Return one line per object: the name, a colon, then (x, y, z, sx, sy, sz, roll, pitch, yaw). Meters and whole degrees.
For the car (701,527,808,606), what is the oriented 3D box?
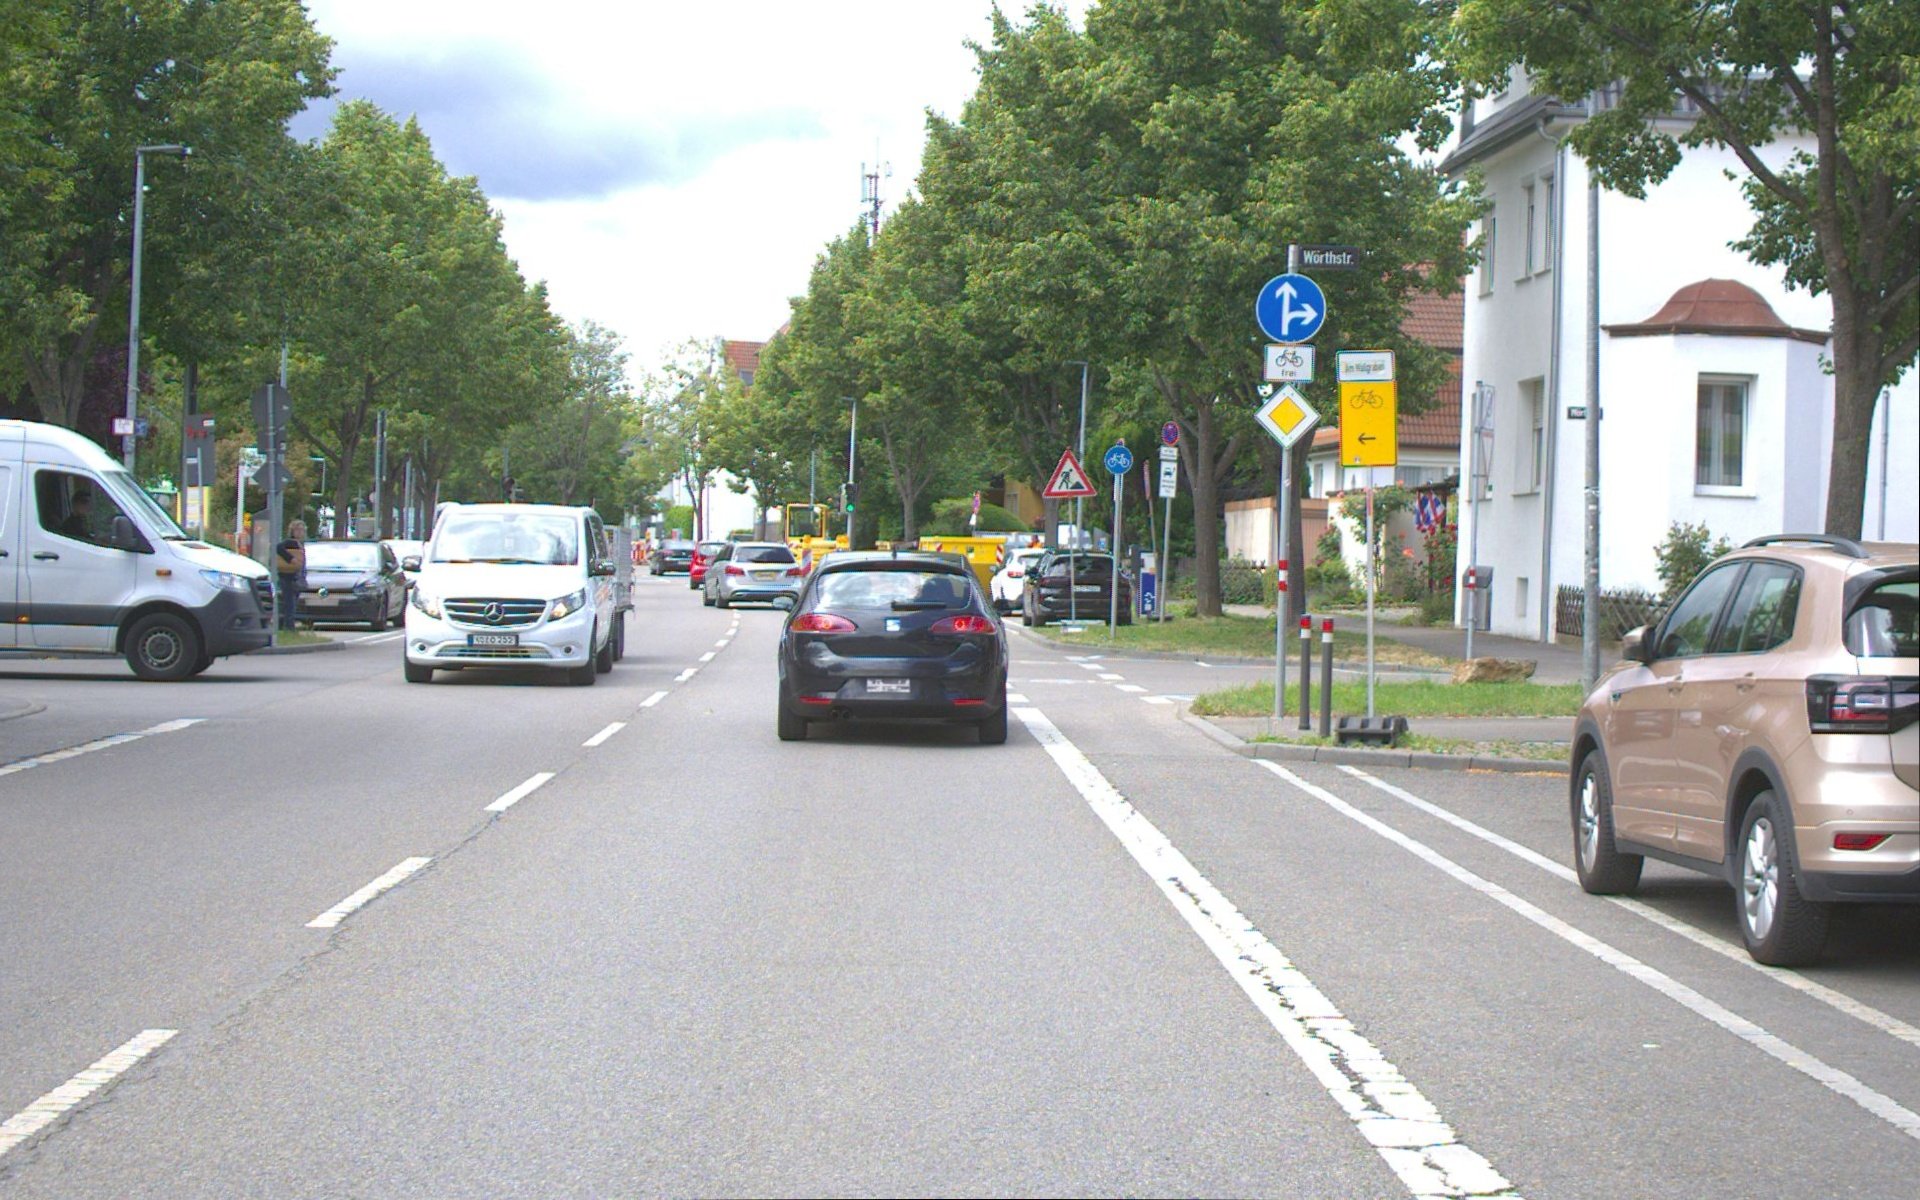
car: (-4.564, -0.752, 75.911, 1.905, 1.680, 3.741, 1, 1, -10)

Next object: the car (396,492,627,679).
car: (-4.718, -0.184, 36.796, 1.966, 1.824, 4.819, 1, 1, -2)

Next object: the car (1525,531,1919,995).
car: (3.611, 0.532, 13.803, 1.721, 1.575, 4.062, 1, 1, -4)

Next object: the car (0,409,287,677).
car: (-10.682, -0.634, 34.956, 7.287, 2.585, 2.221, 1, 1, -5)

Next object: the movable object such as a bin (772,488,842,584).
movable object such as a bin: (-4.250, -1.771, 94.842, 1.768, 2.565, 3.740, 1, 1, -4)

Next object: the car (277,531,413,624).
car: (-9.771, -0.375, 54.867, 1.642, 1.415, 4.021, 1, 1, -3)

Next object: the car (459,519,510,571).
car: (-16.810, -1.953, 121.456, 1.667, 1.766, 4.469, 0, 1, -9)

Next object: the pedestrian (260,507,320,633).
pedestrian: (-9.126, -0.414, 46.838, 0.542, 1.675, 0.750, 3, 2, 7)

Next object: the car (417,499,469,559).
car: (-23.084, -3.166, 153.425, 2.092, 2.617, 5.046, 1, 1, -10)

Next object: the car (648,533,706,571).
car: (-10.903, -1.857, 132.200, 1.809, 1.370, 3.694, 1, 1, -11)

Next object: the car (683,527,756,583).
car: (-7.173, -1.357, 102.298, 1.790, 1.617, 3.741, 1, 1, -10)

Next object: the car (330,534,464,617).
car: (-10.064, -0.462, 61.705, 1.714, 1.401, 4.300, 1, 1, 0)

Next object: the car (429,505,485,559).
car: (-20.954, -2.839, 143.126, 2.092, 2.167, 5.046, 1, 1, -10)

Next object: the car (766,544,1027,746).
car: (-0.565, 0.296, 26.824, 1.818, 1.433, 3.740, 1, 1, -4)

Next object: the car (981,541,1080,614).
car: (1.470, -0.493, 72.715, 1.672, 1.457, 4.001, 1, 1, -5)

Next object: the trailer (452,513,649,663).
trailer: (-4.878, -0.179, 41.554, 1.938, 1.671, 4.689, 1, 1, -2)

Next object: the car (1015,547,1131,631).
car: (2.032, -0.223, 63.009, 1.705, 1.449, 4.617, 1, 1, -3)
